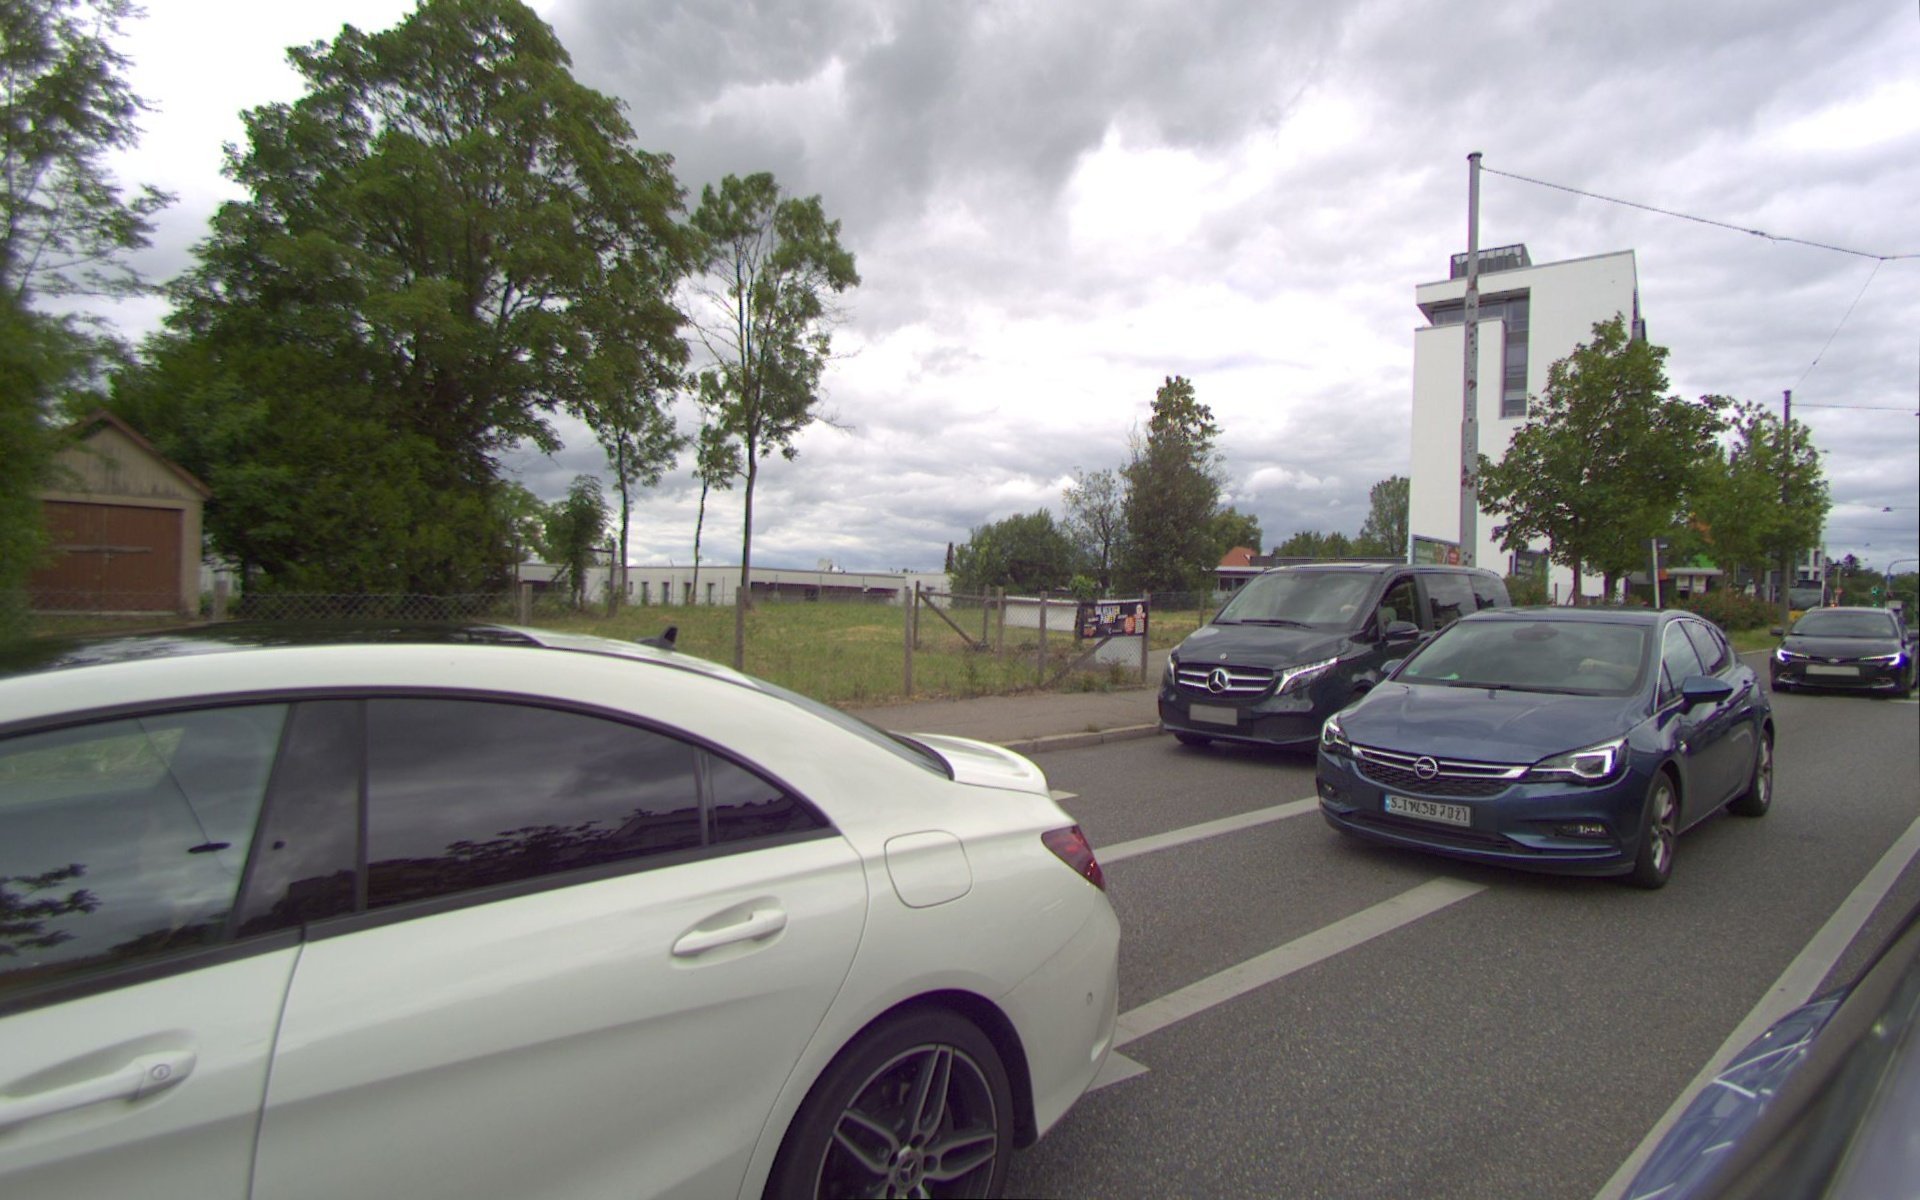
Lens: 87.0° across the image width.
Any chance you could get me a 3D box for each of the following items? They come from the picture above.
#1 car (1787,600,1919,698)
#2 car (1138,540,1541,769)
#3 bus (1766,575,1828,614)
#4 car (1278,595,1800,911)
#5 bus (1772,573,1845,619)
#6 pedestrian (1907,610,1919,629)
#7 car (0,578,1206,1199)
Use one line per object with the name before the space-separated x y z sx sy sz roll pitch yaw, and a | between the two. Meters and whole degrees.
car | 15.456 0.750 17.302 3.857 1.475 1.661 0 0 -45
car | 4.097 0.445 10.516 4.627 1.863 1.952 0 -1 -41
bus | 61.419 -0.442 74.474 2.952 2.664 12.751 0 1 37
car | 3.936 0.685 6.598 3.931 1.428 1.825 0 0 -42
bus | 53.952 -0.308 64.574 2.952 2.664 11.986 0 1 37
pedestrian | 103.839 2.089 110.196 0.969 2.039 0.979 0 0 36
car | -1.540 0.698 1.815 4.300 1.451 1.652 0 1 -41
